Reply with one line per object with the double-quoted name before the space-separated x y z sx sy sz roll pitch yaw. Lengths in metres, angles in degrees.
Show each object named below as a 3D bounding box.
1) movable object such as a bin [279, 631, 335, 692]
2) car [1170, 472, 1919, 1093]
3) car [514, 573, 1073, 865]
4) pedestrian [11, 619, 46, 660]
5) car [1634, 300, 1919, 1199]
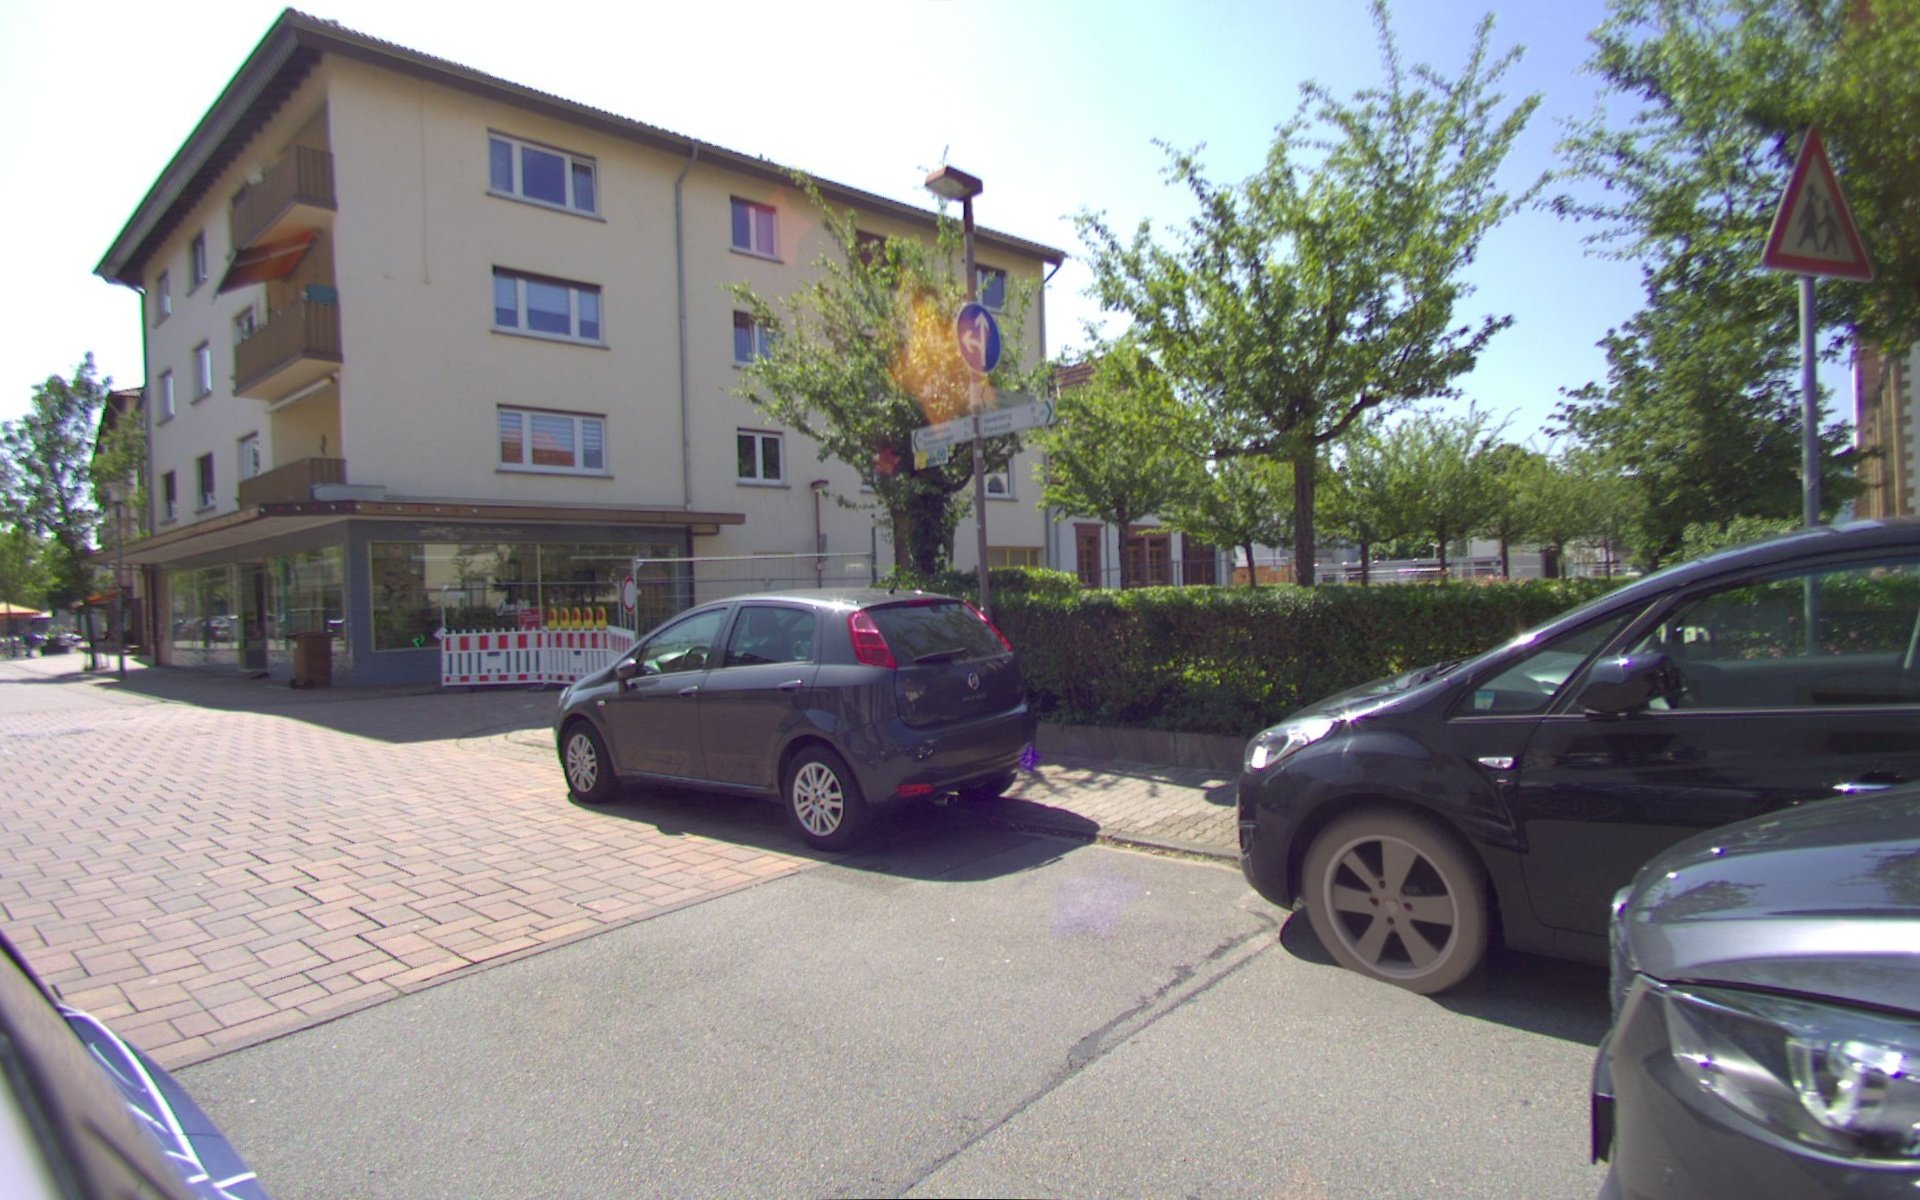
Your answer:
"movable object such as a bin" -12.143 1.132 18.813 0.662 1.078 0.649 -2 0 35
"car" 2.957 0.465 3.426 4.024 1.617 1.796 -2 0 43
"car" -1.314 0.654 7.098 3.851 1.508 1.686 -2 0 38
"pedestrian" -41.714 1.761 45.319 0.748 1.794 0.872 -2 0 -9
"car" 2.911 0.490 0.402 4.152 1.681 1.862 -2 0 42
